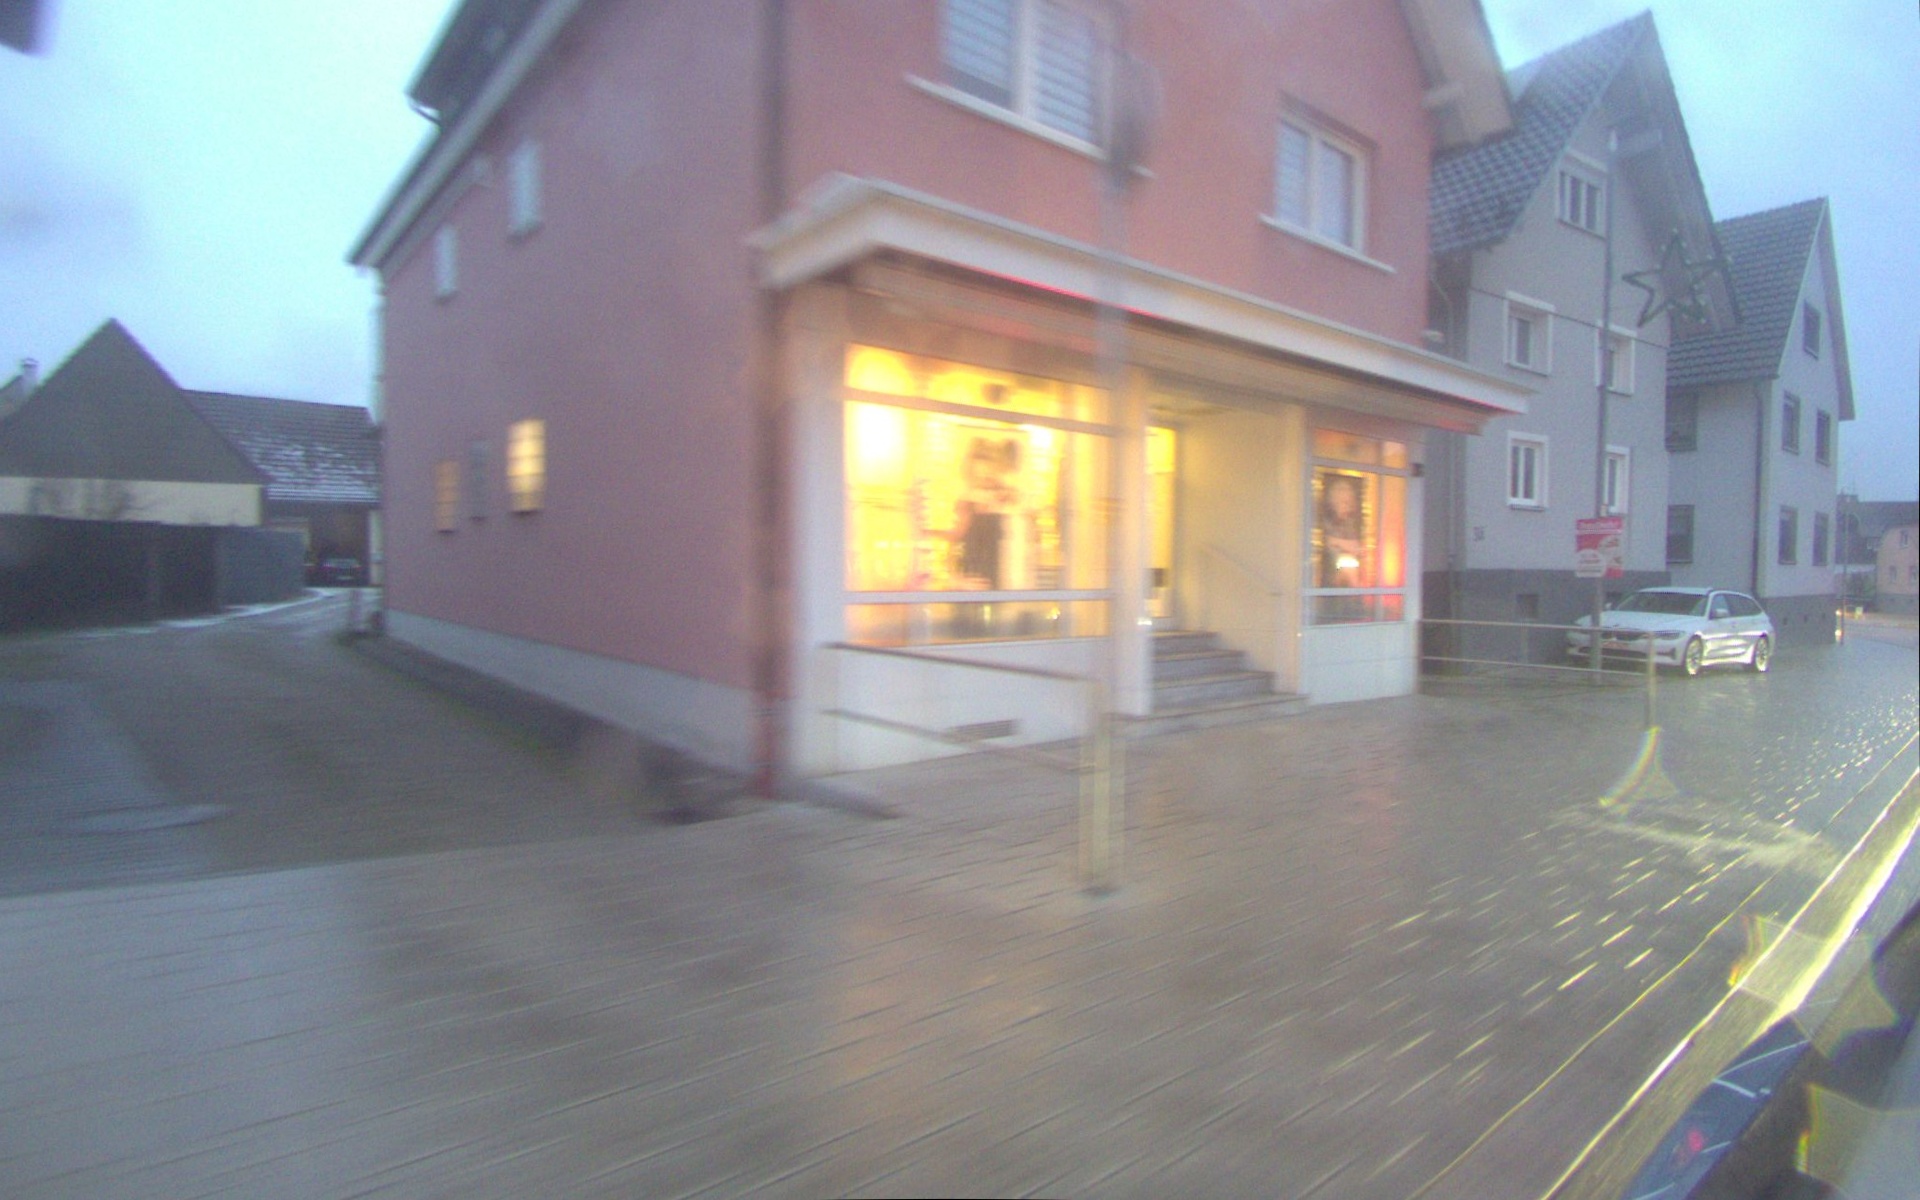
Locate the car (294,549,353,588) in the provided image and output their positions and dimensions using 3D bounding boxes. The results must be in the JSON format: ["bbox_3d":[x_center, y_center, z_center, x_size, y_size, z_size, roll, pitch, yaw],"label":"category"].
[{"bbox_3d":[-27.736,-1.338,44.025,1.736,1.649,3.996,0,1,-39],"label":"car"}]

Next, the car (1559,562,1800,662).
[{"bbox_3d":[12.578,0.133,17.611,4.607,1.504,1.936,-2,1,-34],"label":"car"}]

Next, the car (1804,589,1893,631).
[{"bbox_3d":[41.473,0.411,47.356,1.978,1.878,3.968,0,0,24],"label":"car"}]
